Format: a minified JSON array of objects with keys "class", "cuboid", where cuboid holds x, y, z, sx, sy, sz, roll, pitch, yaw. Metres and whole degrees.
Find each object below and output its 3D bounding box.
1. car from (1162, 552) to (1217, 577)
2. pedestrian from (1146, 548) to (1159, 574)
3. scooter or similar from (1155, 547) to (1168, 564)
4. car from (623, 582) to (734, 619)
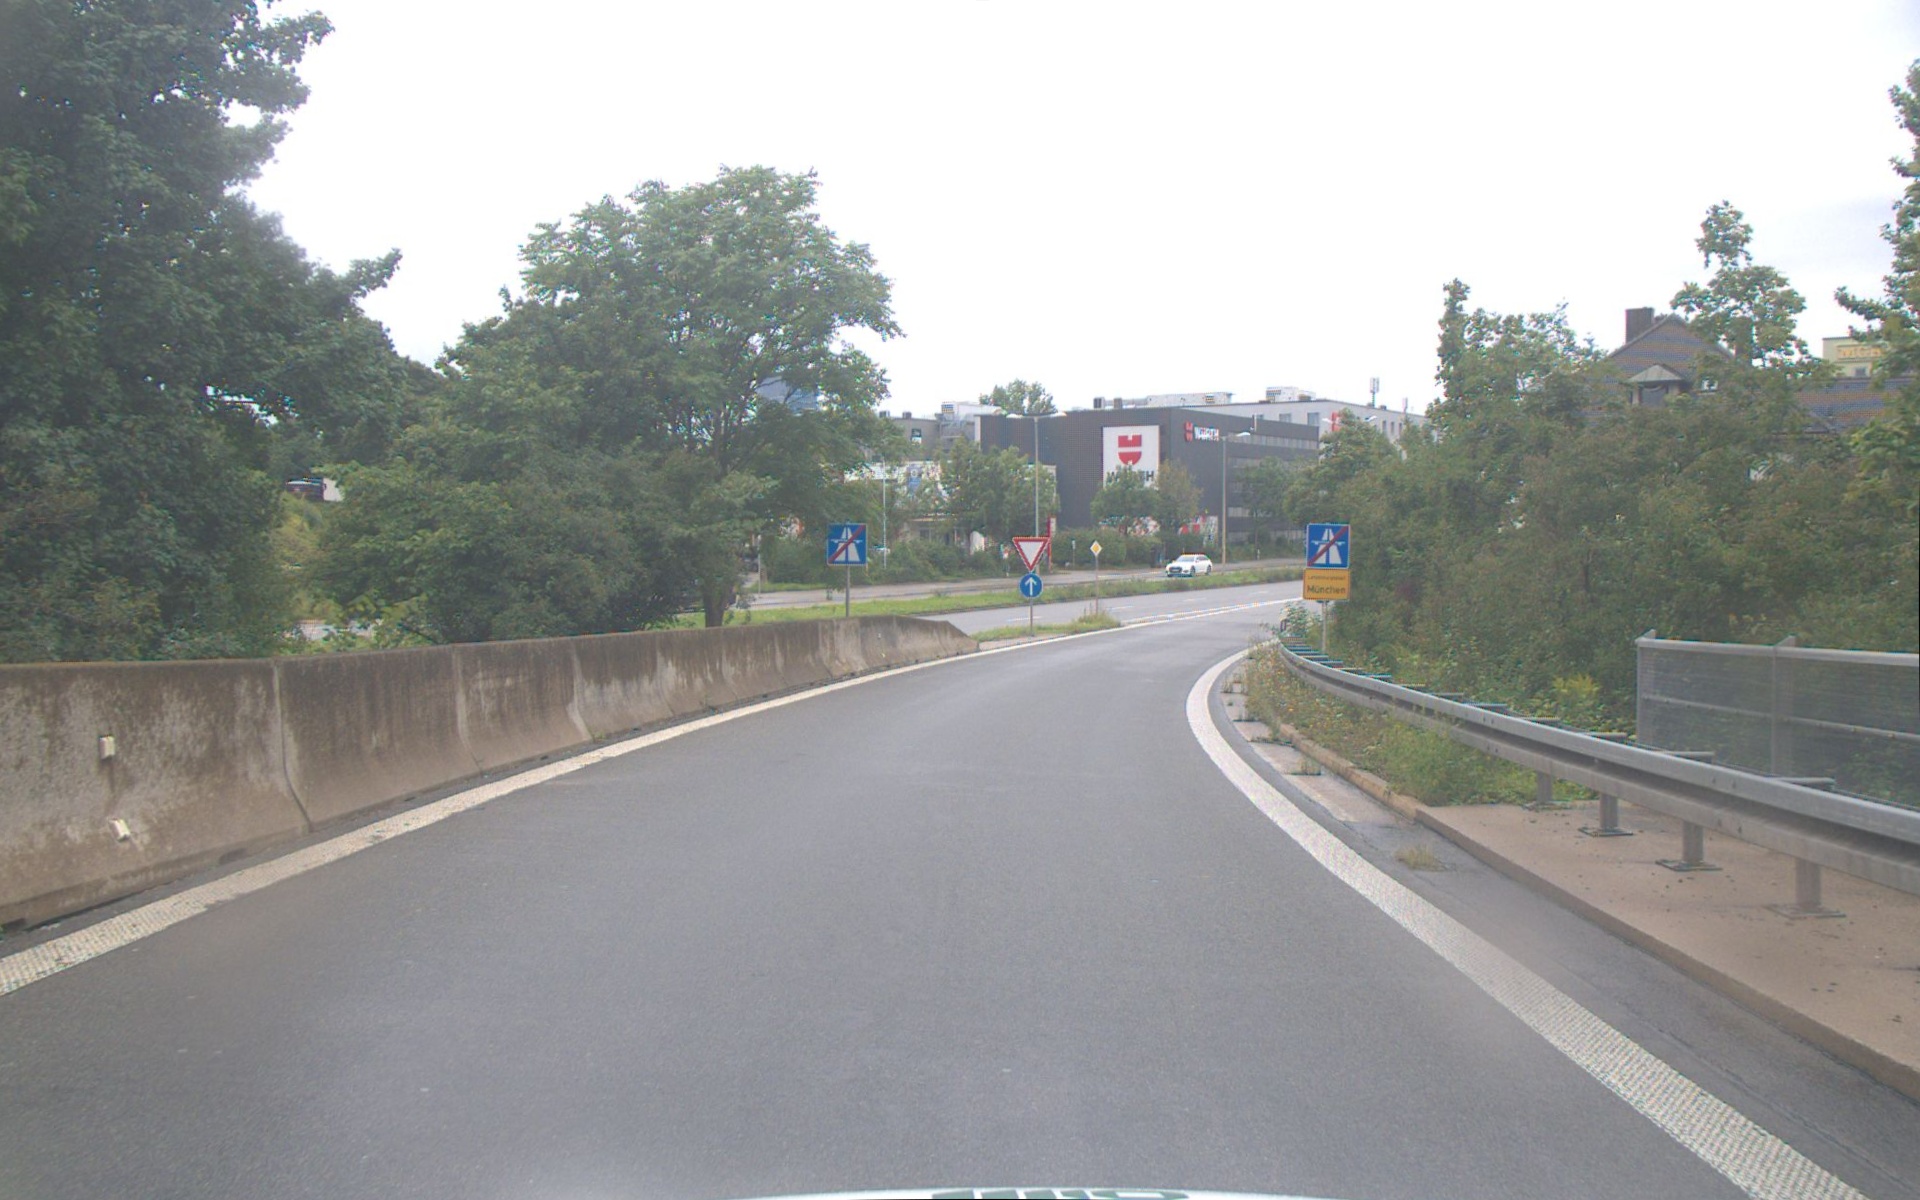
[{"class":"car","cuboid":[15.995,-2.474,115.226,1.957,1.599,5.108,1,2,31]},{"class":"pedestrian","cuboid":[14.327,-2.894,123.098,0.611,1.861,0.815,1,3,32]},{"class":"scooter or similar","cuboid":[15.355,-3.423,125.921,0.437,1.248,1.385,1,3,30]},{"class":"car","cuboid":[-11.851,-0.007,69.941,1.933,1.421,4.805,0,1,32]}]
